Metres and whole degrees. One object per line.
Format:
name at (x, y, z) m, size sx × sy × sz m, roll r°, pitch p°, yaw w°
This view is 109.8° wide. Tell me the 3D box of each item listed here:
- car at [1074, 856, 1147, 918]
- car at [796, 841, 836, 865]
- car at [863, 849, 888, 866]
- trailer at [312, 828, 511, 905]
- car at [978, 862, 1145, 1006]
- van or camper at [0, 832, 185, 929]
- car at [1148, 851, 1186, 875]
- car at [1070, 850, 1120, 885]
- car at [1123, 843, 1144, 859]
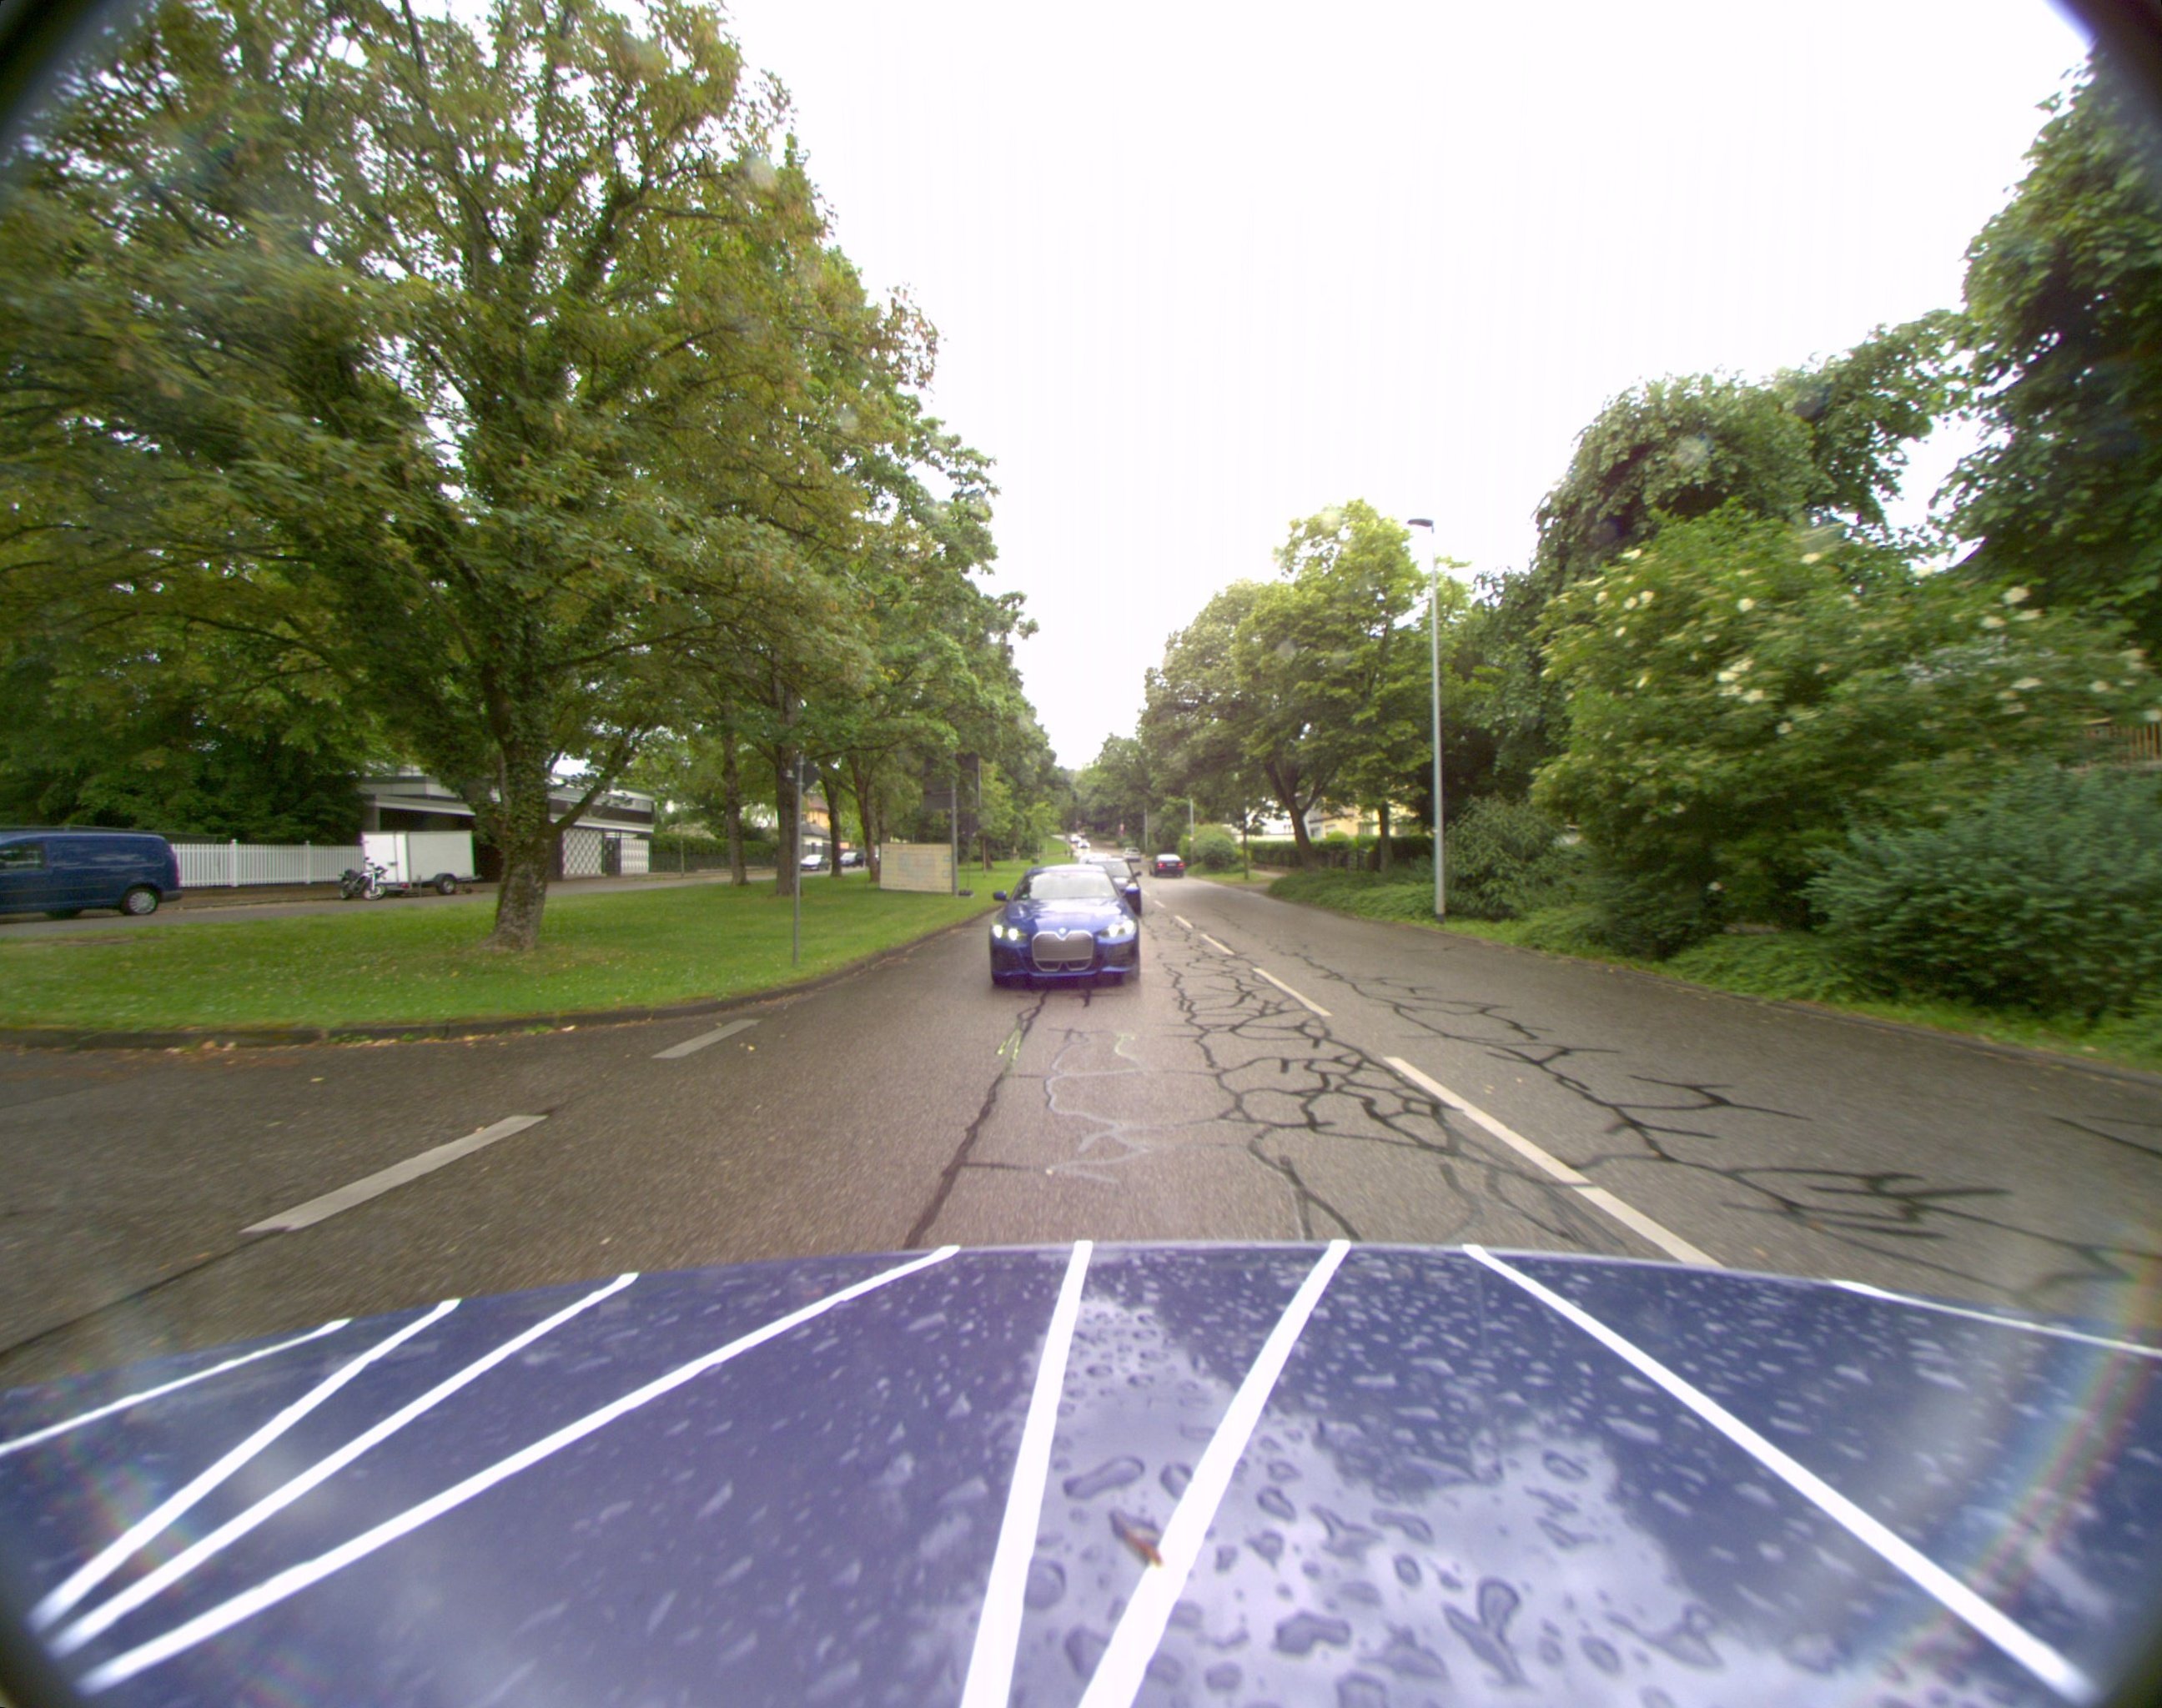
car at (0.785, 0.861, 21.600) m, size 1.826 × 1.471 × 4.067 m, roll -2°, pitch 1°, yaw 1°
car at (-23.067, -0.074, 66.267) m, size 1.998 × 2.002 × 4.000 m, roll 0°, pitch 1°, yaw 0°
car at (-24.386, 0.433, 90.189) m, size 1.999 × 2.001 × 4.001 m, roll 0°, pitch -2°, yaw -1°
trailer at (-21.110, 0.334, 24.345) m, size 1.771 × 2.104 × 5.191 m, roll -2°, pitch 1°, yaw -2°
car at (-0.197, 0.932, 10.634) m, size 1.826 × 1.471 × 4.067 m, roll -2°, pitch 1°, yaw 1°
van or camper at (-20.999, 0.525, 14.591) m, size 1.999 × 1.798 × 4.773 m, roll -2°, pitch 1°, yaw -4°
car at (5.122, 0.526, 45.834) m, size 1.769 × 1.341 × 4.376 m, roll 1°, pitch 1°, yaw 0°
car at (0.742, 0.604, 35.805) m, size 2.031 × 1.471 × 4.068 m, roll -2°, pitch 1°, yaw 5°
car at (5.302, -0.318, 77.062) m, size 1.826 × 1.471 × 4.066 m, roll 0°, pitch 1°, yaw -1°
